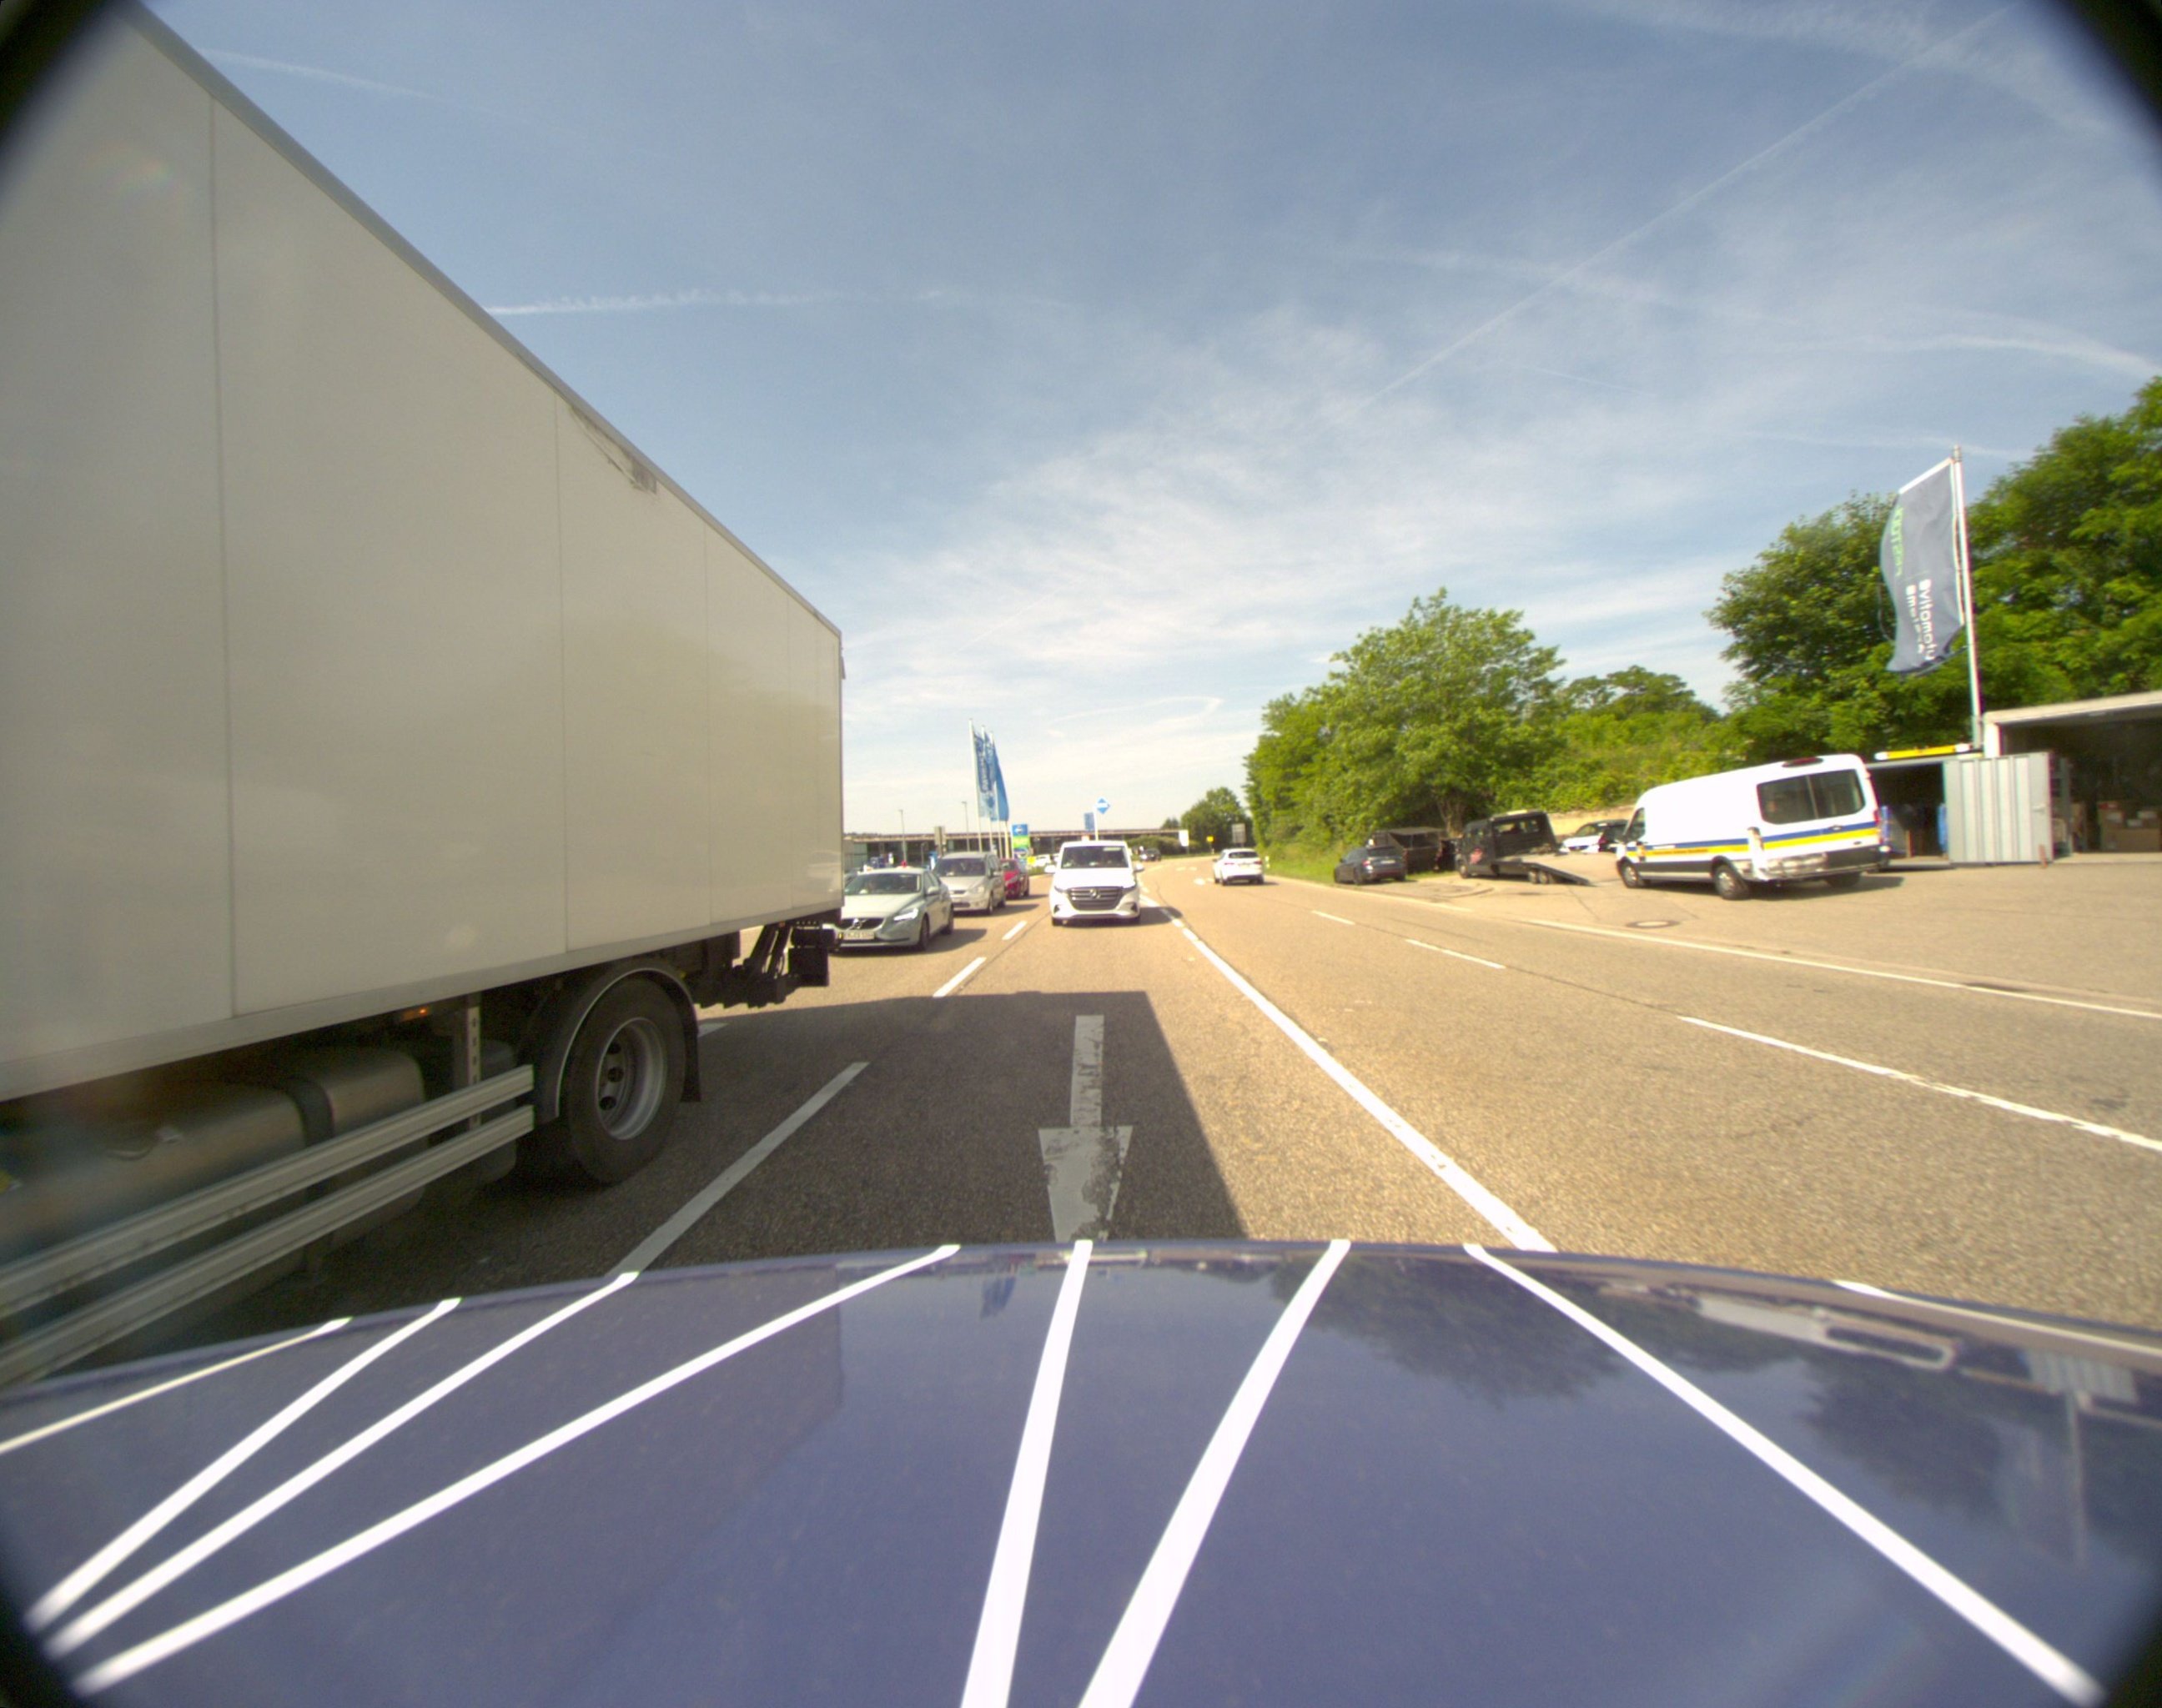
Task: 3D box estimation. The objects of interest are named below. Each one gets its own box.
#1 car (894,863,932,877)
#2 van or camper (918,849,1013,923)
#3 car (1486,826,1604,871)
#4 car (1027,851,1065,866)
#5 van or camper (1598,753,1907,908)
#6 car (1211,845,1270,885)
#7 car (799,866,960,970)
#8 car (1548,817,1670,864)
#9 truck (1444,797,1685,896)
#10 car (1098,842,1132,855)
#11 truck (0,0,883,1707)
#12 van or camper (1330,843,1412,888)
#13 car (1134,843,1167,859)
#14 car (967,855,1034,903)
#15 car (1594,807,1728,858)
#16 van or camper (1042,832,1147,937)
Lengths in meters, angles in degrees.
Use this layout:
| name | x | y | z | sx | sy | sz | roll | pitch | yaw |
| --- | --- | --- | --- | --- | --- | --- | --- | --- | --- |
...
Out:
| name | x | y | z | sx | sy | sz | roll | pitch | yaw |
| --- | --- | --- | --- | --- | --- | --- | --- | --- | --- |
| car | -18.966 | 1.820 | 85.716 | 4.035 | 1.449 | 1.826 | -3 | -1 | 34 |
| van or camper | -3.129 | 0.790 | 21.696 | 1.751 | 1.777 | 5.133 | -3 | 0 | 1 |
| car | 18.039 | -0.227 | 29.612 | 3.671 | 1.502 | 1.715 | -3 | 1 | -10 |
| car | -4.269 | 0.499 | 92.167 | 4.248 | 1.628 | 1.825 | -3 | -1 | 28 |
| van or camper | 13.750 | -0.445 | 16.277 | 2.158 | 2.484 | 5.955 | -6 | 0 | 12 |
| car | 7.070 | 0.467 | 34.012 | 1.940 | 1.664 | 4.000 | -1 | 0 | 2 |
| car | -3.443 | 1.016 | 13.836 | 1.739 | 1.420 | 4.224 | -3 | 0 | 0 |
| car | 19.096 | -0.493 | 27.513 | 3.674 | 1.460 | 1.737 | -3 | 1 | -19 |
| truck | 14.668 | -0.228 | 24.164 | 2.336 | 2.283 | 8.804 | -7 | 0 | 4 |
| car | 4.743 | -0.794 | 106.521 | 4.248 | 1.628 | 1.825 | -3 | -1 | 28 |
| truck | -3.500 | -0.064 | 1.733 | 2.886 | 3.789 | 11.141 | -3 | 0 | 1 |
| van or camper | 11.307 | 0.397 | 29.982 | 1.643 | 1.515 | 4.468 | -4 | 1 | 3 |
| car | 8.163 | -0.335 | 89.105 | 1.864 | 1.632 | 4.429 | -3 | 1 | 34 |
| car | -2.884 | 0.855 | 27.900 | 1.805 | 1.563 | 3.714 | -1 | 1 | 3 |
| car | 19.096 | -0.704 | 25.053 | 3.674 | 1.460 | 1.737 | -3 | 1 | -19 |
| van or camper | 0.471 | 0.582 | 17.382 | 1.998 | 2.002 | 5.292 | -1 | 0 | 5 |
